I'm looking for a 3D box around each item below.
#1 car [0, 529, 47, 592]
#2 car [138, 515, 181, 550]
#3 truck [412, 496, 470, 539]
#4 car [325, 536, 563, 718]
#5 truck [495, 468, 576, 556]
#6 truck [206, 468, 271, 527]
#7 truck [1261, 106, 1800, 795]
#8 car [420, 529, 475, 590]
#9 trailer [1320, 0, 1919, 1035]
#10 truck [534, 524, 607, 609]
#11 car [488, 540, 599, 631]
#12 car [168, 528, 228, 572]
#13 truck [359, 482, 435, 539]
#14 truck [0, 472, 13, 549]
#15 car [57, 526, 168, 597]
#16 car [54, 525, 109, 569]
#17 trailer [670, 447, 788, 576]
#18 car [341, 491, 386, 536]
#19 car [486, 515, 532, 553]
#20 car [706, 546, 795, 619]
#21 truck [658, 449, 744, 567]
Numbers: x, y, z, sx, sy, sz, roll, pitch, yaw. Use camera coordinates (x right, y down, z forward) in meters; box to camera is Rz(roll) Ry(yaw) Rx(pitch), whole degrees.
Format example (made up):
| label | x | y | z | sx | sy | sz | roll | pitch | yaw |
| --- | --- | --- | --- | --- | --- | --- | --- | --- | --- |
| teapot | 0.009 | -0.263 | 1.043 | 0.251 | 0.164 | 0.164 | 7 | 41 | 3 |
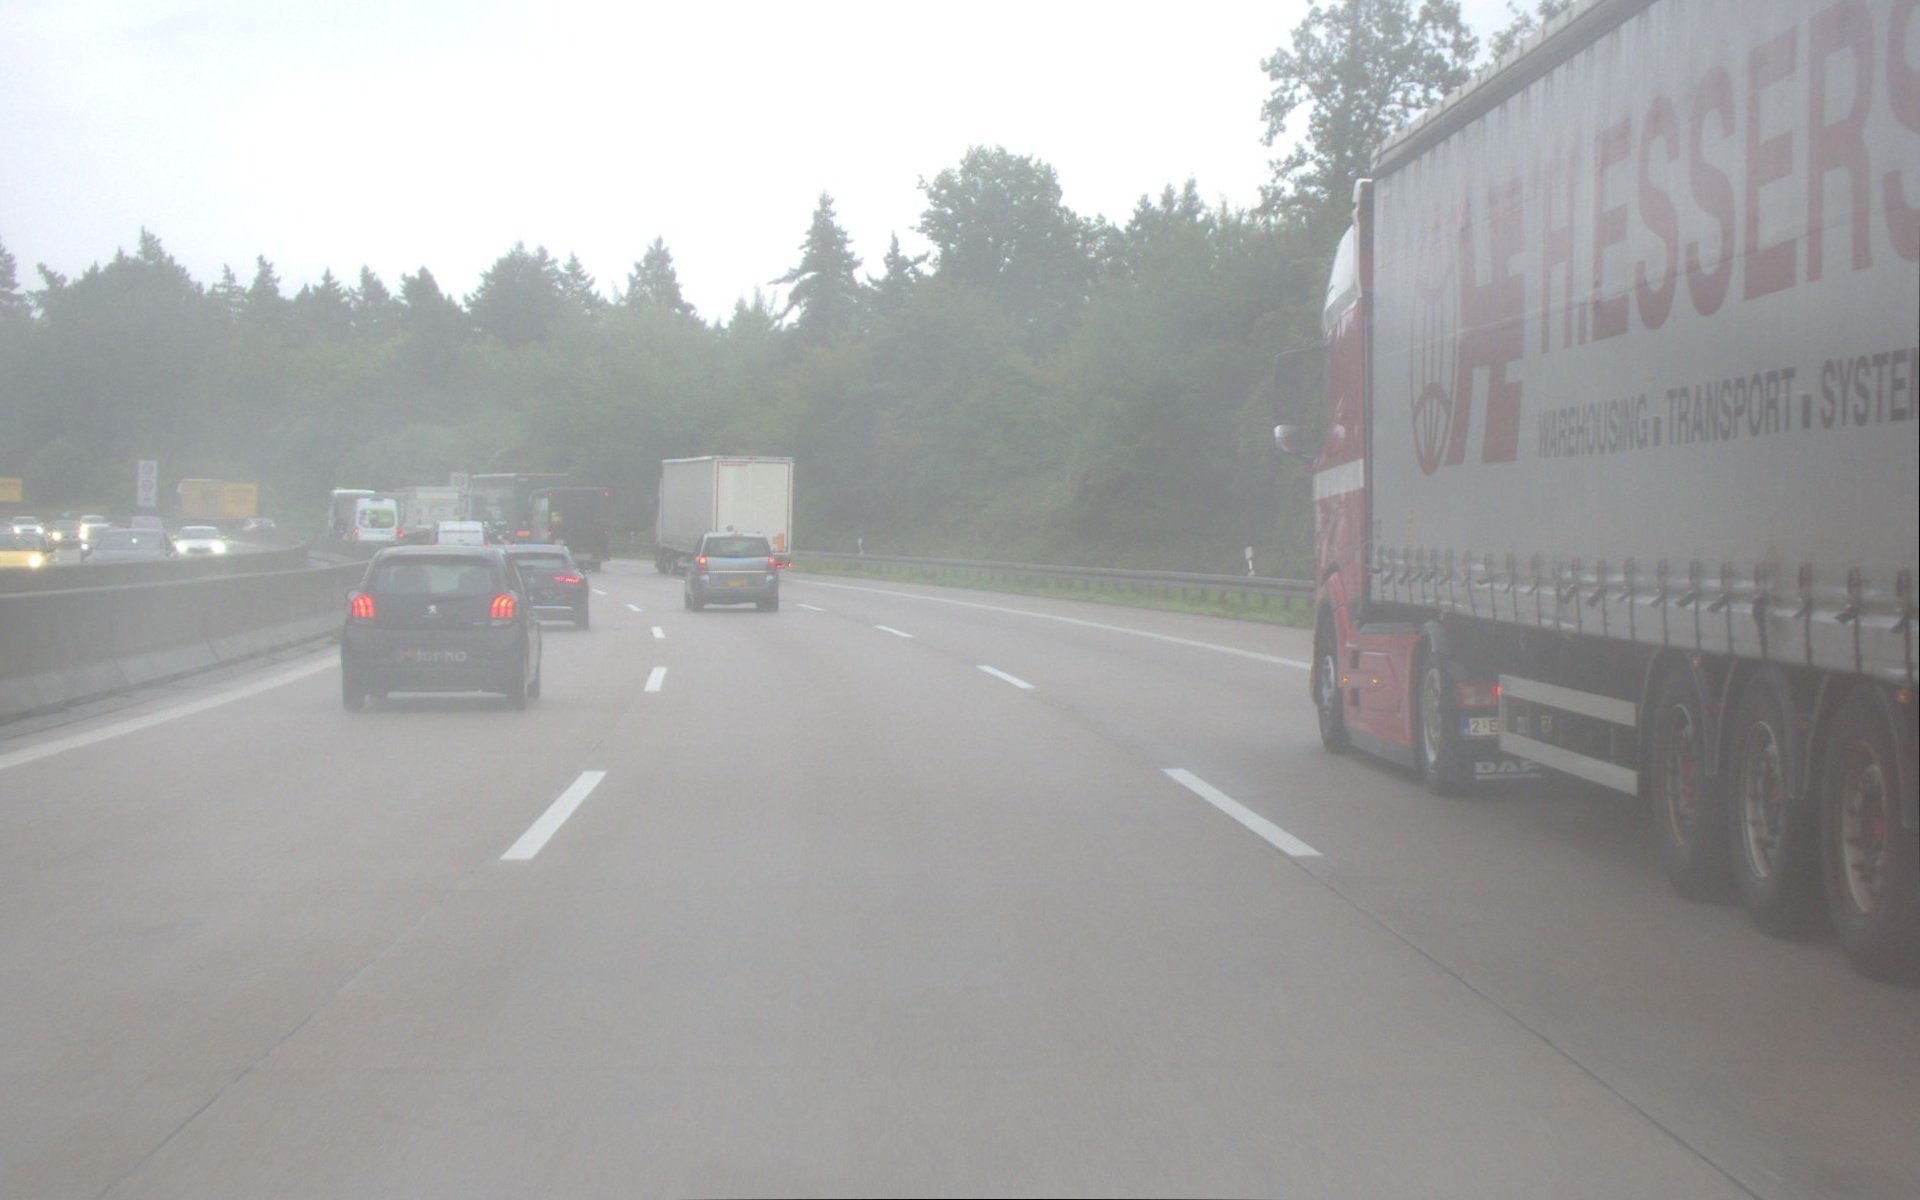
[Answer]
| label | x | y | z | sx | sy | sz | roll | pitch | yaw |
| --- | --- | --- | --- | --- | --- | --- | --- | --- | --- |
| car | -23.556 | -0.979 | 84.486 | 1.573 | 1.482 | 4.285 | 0 | 1 | -7 |
| car | -41.703 | -3.529 | 179.136 | 1.993 | 1.762 | 4.538 | 0 | 1 | -11 |
| truck | -30.093 | -4.774 | 199.022 | 2.973 | 2.301 | 6.669 | 3 | 1 | -11 |
| car | -4.616 | 0.199 | 31.186 | 1.683 | 1.457 | 3.684 | 3 | 1 | -2 |
| truck | -20.819 | -4.345 | 168.190 | 3.368 | 4.117 | 10.441 | 1 | 2 | -10 |
| truck | -52.868 | -7.472 | 251.702 | 3.739 | 4.195 | 6.820 | 0 | 1 | -20 |
| truck | 3.553 | -0.907 | 22.850 | 2.375 | 3.940 | 6.160 | 1 | 1 | -1 |
| car | -17.173 | -1.380 | 115.303 | 1.725 | 2.007 | 3.658 | 0 | 1 | -7 |
| trailer | 3.763 | -0.781 | 16.549 | 2.370 | 3.940 | 12.522 | 0 | 1 | -2 |
| truck | -14.758 | -1.317 | 129.938 | 2.269 | 2.877 | 7.906 | 1 | 2 | -9 |
| car | -6.839 | -0.263 | 56.696 | 1.553 | 1.347 | 3.684 | 3 | 1 | -3 |
| car | -27.620 | -1.816 | 124.769 | 1.741 | 1.555 | 4.285 | 0 | 1 | -7 |
| truck | -30.667 | -4.907 | 187.094 | 3.081 | 2.895 | 7.906 | 1 | 2 | -16 |
| truck | -51.722 | -4.702 | 181.112 | 2.926 | 3.947 | 8.120 | 0 | 1 | -11 |
| car | -19.015 | -0.878 | 77.252 | 1.864 | 1.543 | 4.001 | 0 | 1 | -6 |
| car | -34.096 | -2.079 | 133.470 | 1.808 | 1.678 | 4.001 | 0 | 1 | -11 |
| trailer | -7.848 | -3.027 | 115.343 | 2.419 | 4.054 | 12.059 | 1 | 2 | -11 |
| car | -27.663 | -3.997 | 159.395 | 1.993 | 2.052 | 4.001 | 0 | 1 | -10 |
| car | -19.203 | -2.822 | 146.478 | 1.881 | 1.468 | 4.001 | 2 | 1 | -7 |
| car | -4.252 | -0.374 | 70.213 | 1.554 | 1.347 | 3.684 | 3 | 1 | 0 |
| truck | -9.240 | -3.286 | 122.359 | 2.419 | 4.054 | 4.980 | 1 | 2 | -11 |
